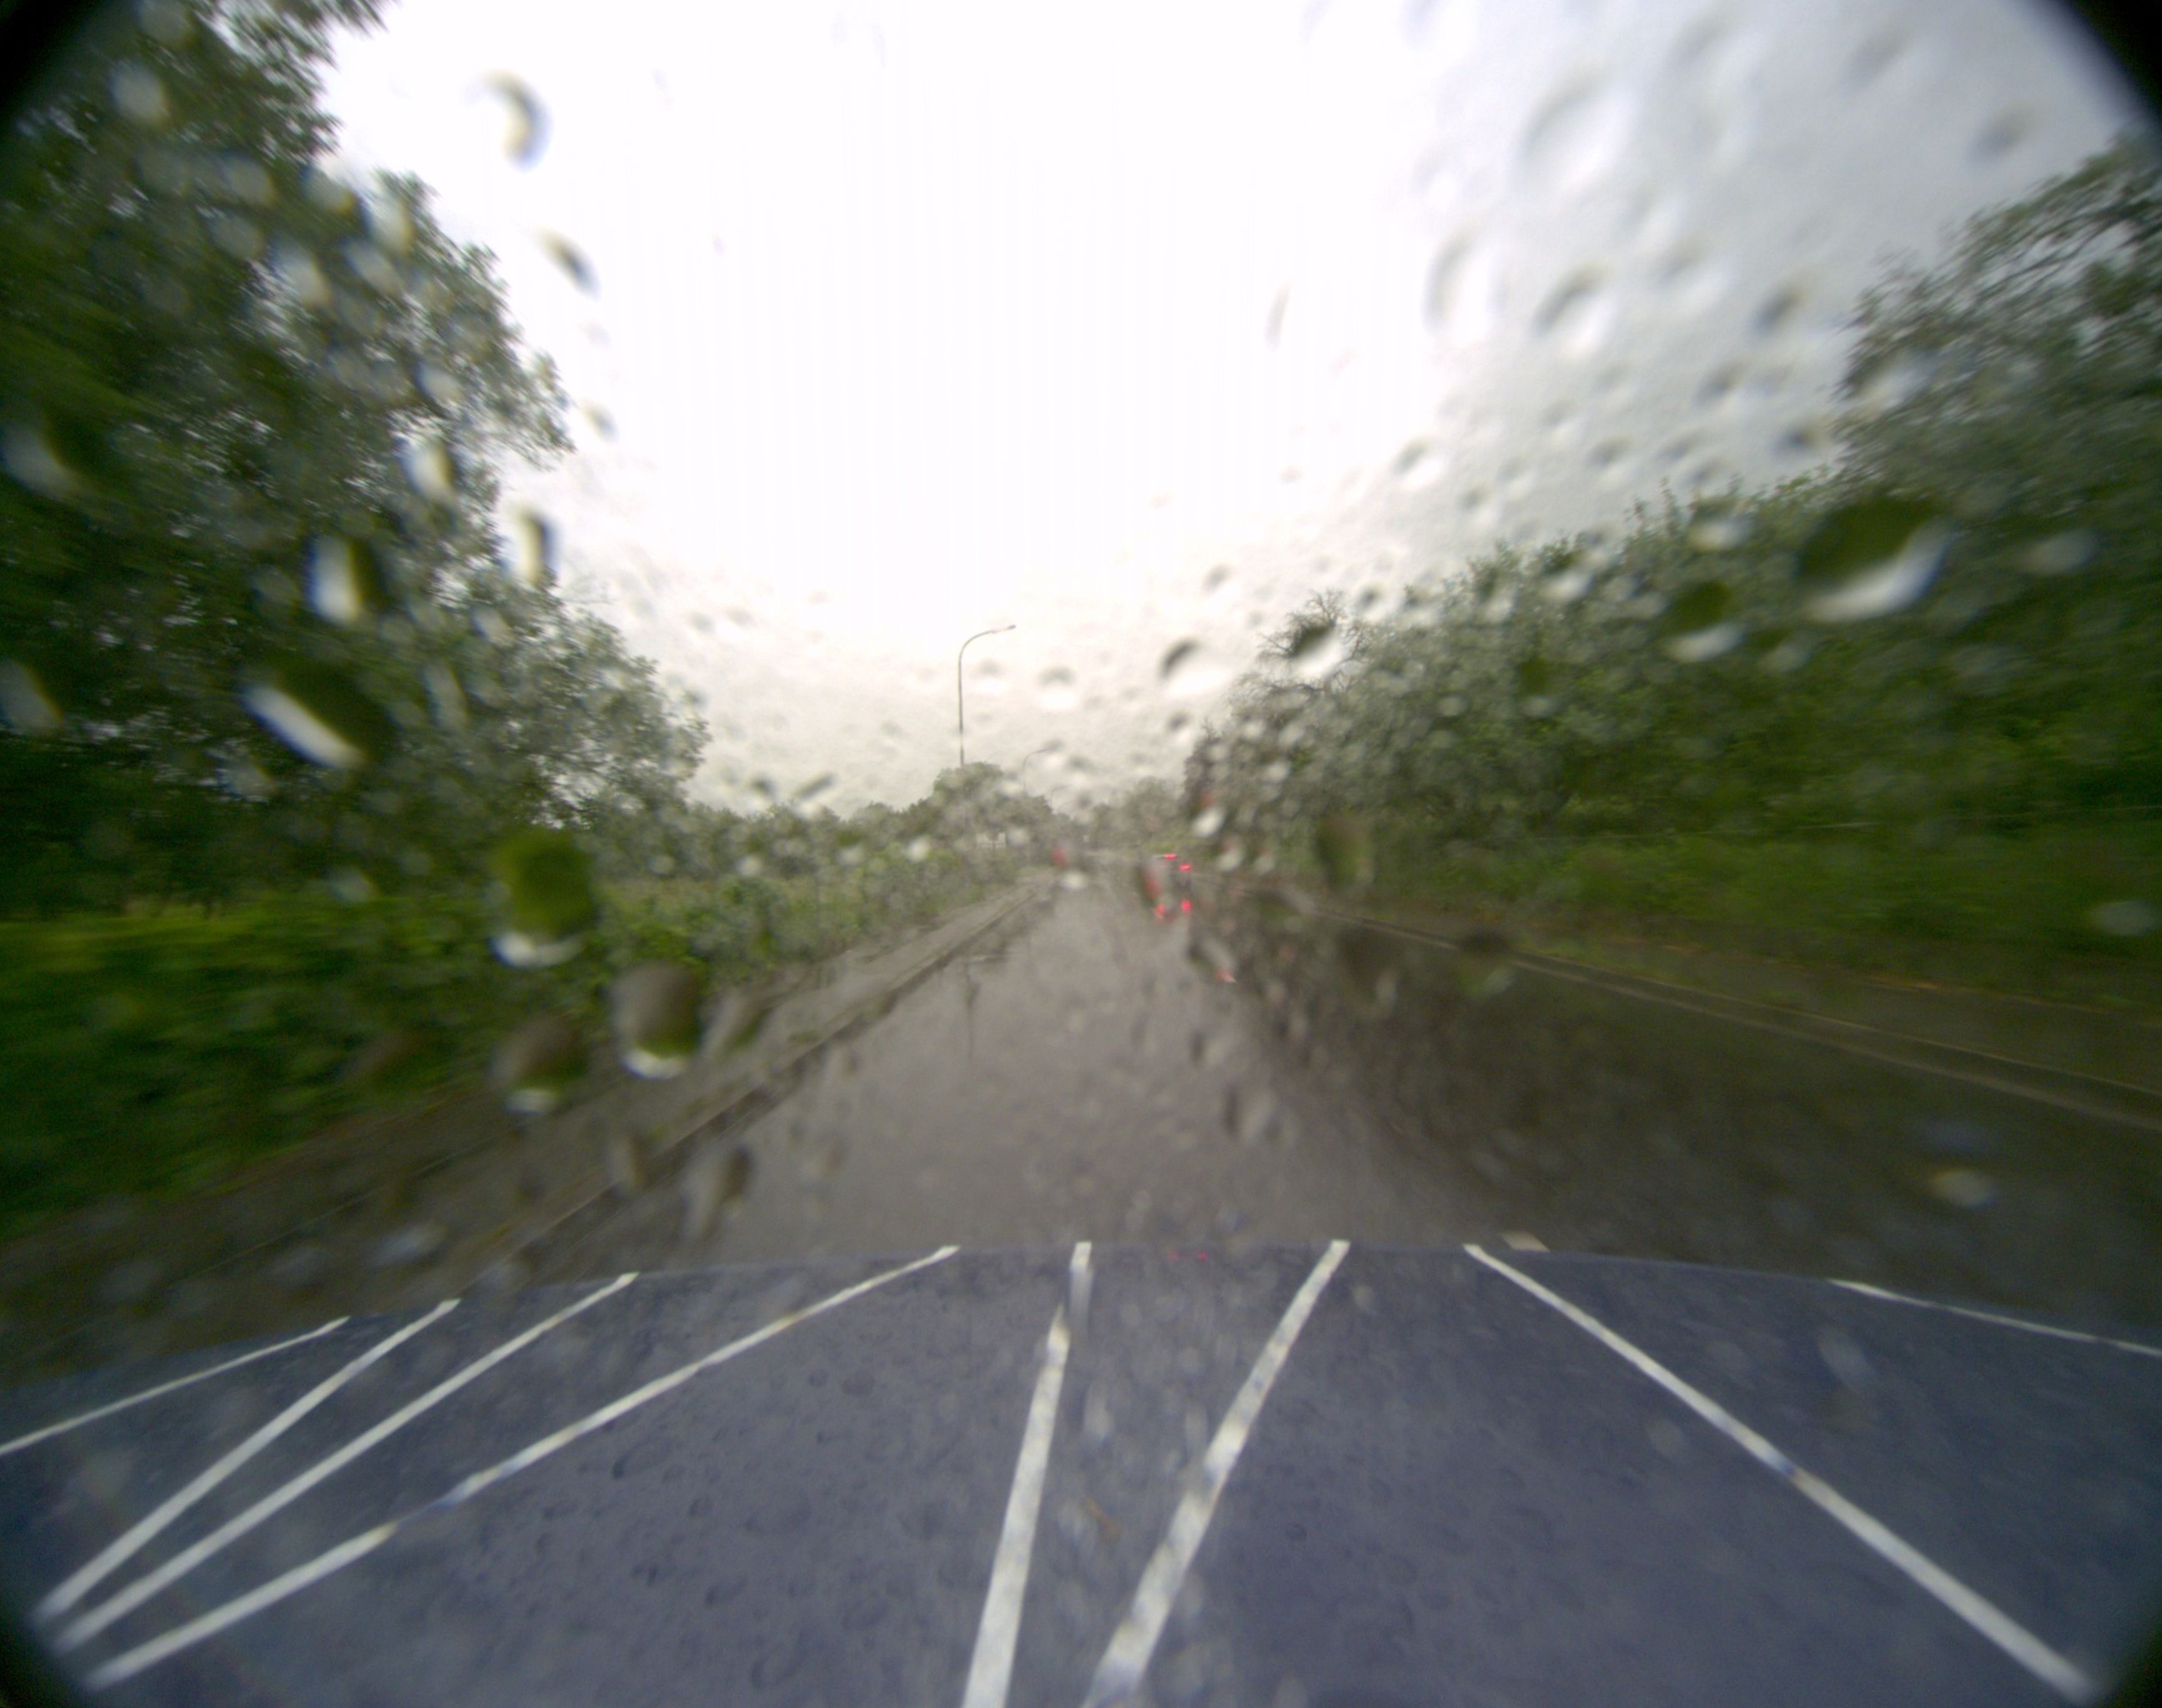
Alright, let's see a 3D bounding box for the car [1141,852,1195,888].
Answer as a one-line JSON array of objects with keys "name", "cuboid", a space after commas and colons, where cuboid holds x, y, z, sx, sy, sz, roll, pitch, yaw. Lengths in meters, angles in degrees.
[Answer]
[{"name": "car", "cuboid": [3.852, 0.698, 34.392, 1.998, 1.445, 4.428, -2, 0, 1]}]
